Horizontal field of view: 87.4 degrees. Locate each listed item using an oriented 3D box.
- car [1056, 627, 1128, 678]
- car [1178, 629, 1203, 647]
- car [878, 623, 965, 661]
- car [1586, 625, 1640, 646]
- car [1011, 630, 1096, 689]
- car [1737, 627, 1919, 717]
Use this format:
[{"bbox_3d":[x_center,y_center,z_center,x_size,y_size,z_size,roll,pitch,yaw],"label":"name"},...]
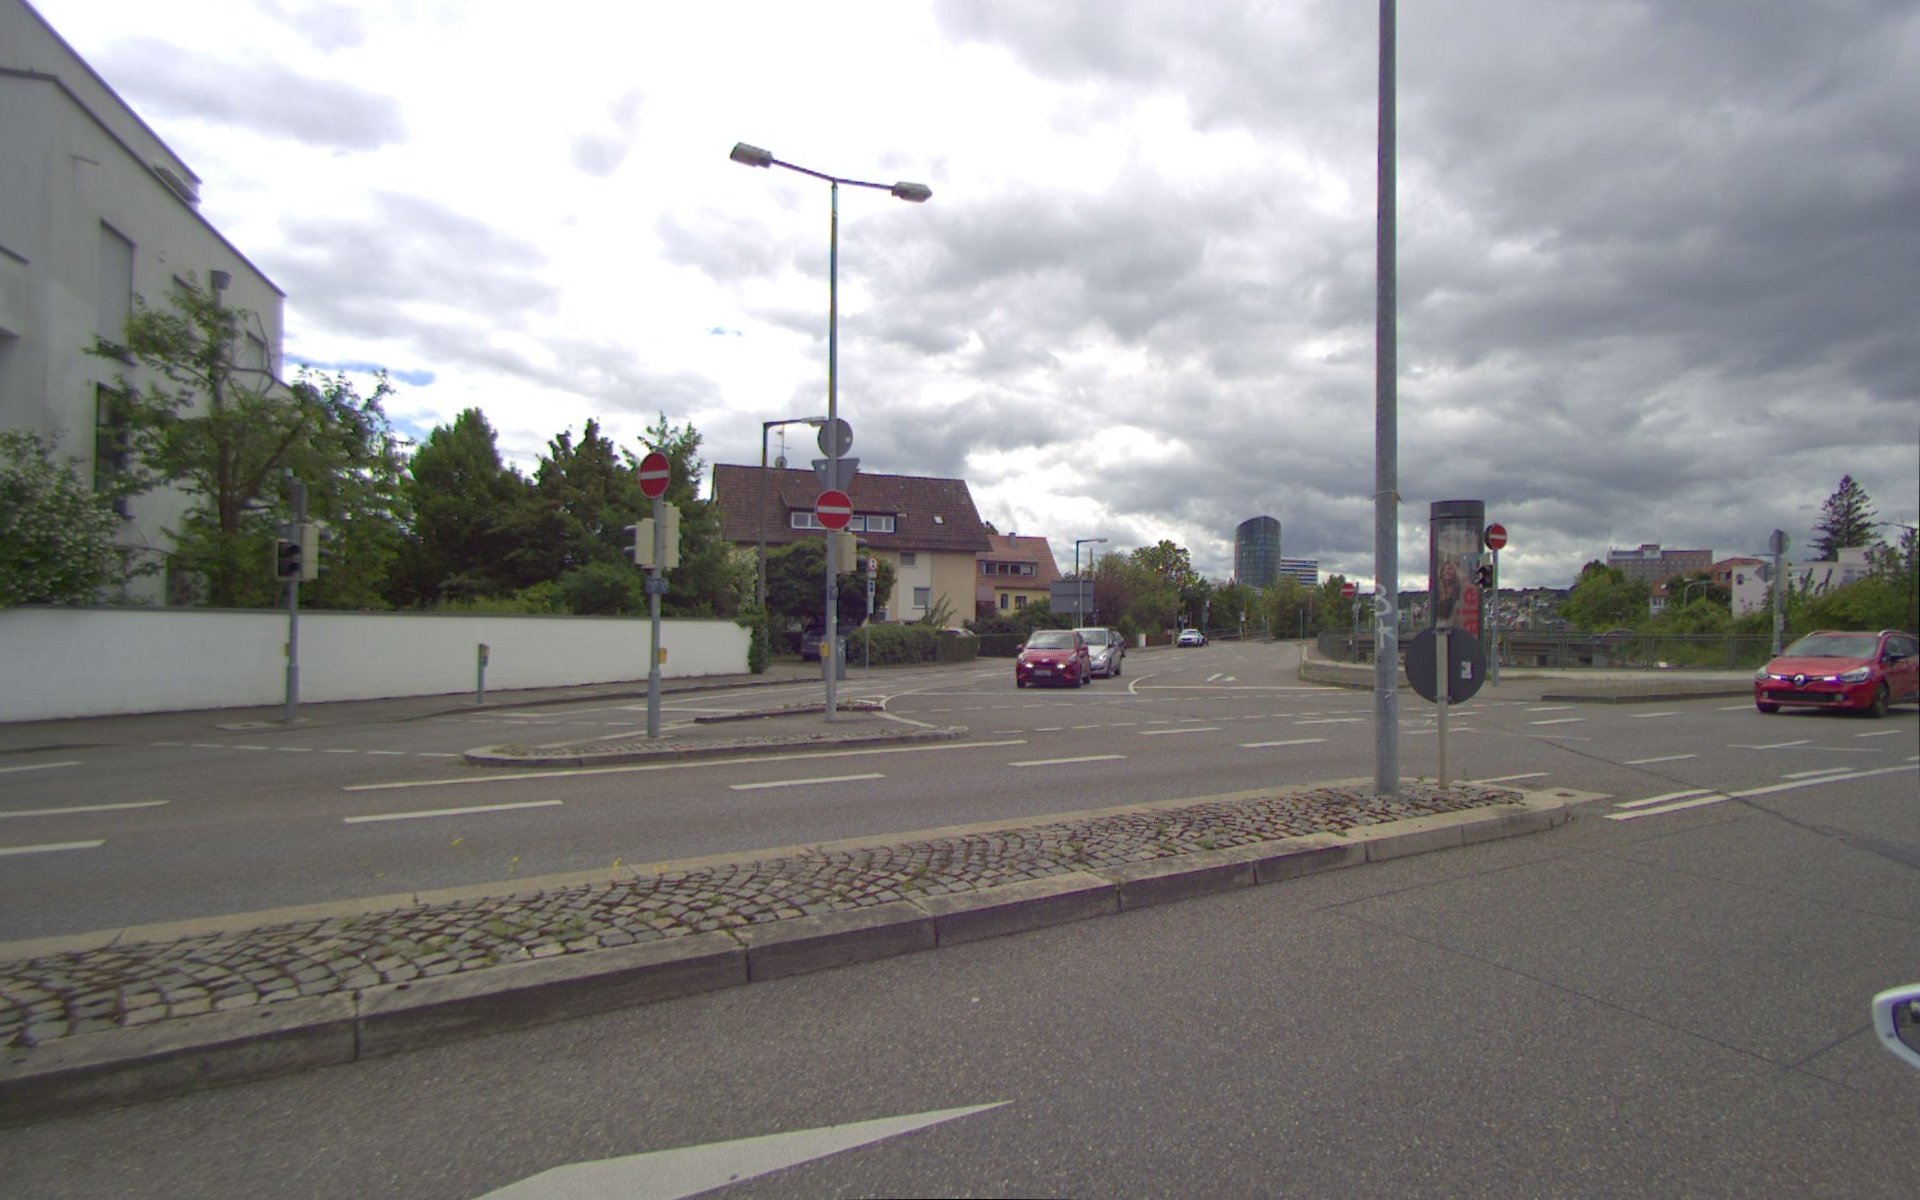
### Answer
[{"bbox_3d":[4.391,1.739,32.947,1.615,1.555,4.132,-2,-3,18],"label":"car"},{"bbox_3d":[21.379,3.469,93.098,1.862,1.628,4.378,0,-1,17],"label":"car"},{"bbox_3d":[-1.928,2.075,50.159,3.921,1.602,1.786,2,2,19],"label":"car"},{"bbox_3d":[62.291,3.393,95.806,1.783,1.684,3.955,0,2,-39],"label":"car"},{"bbox_3d":[2.585,1.584,27.067,1.739,1.465,3.706,-1,-3,13],"label":"car"},{"bbox_3d":[16.049,1.239,18.228,4.020,1.467,1.712,1,-2,-31],"label":"car"}]
